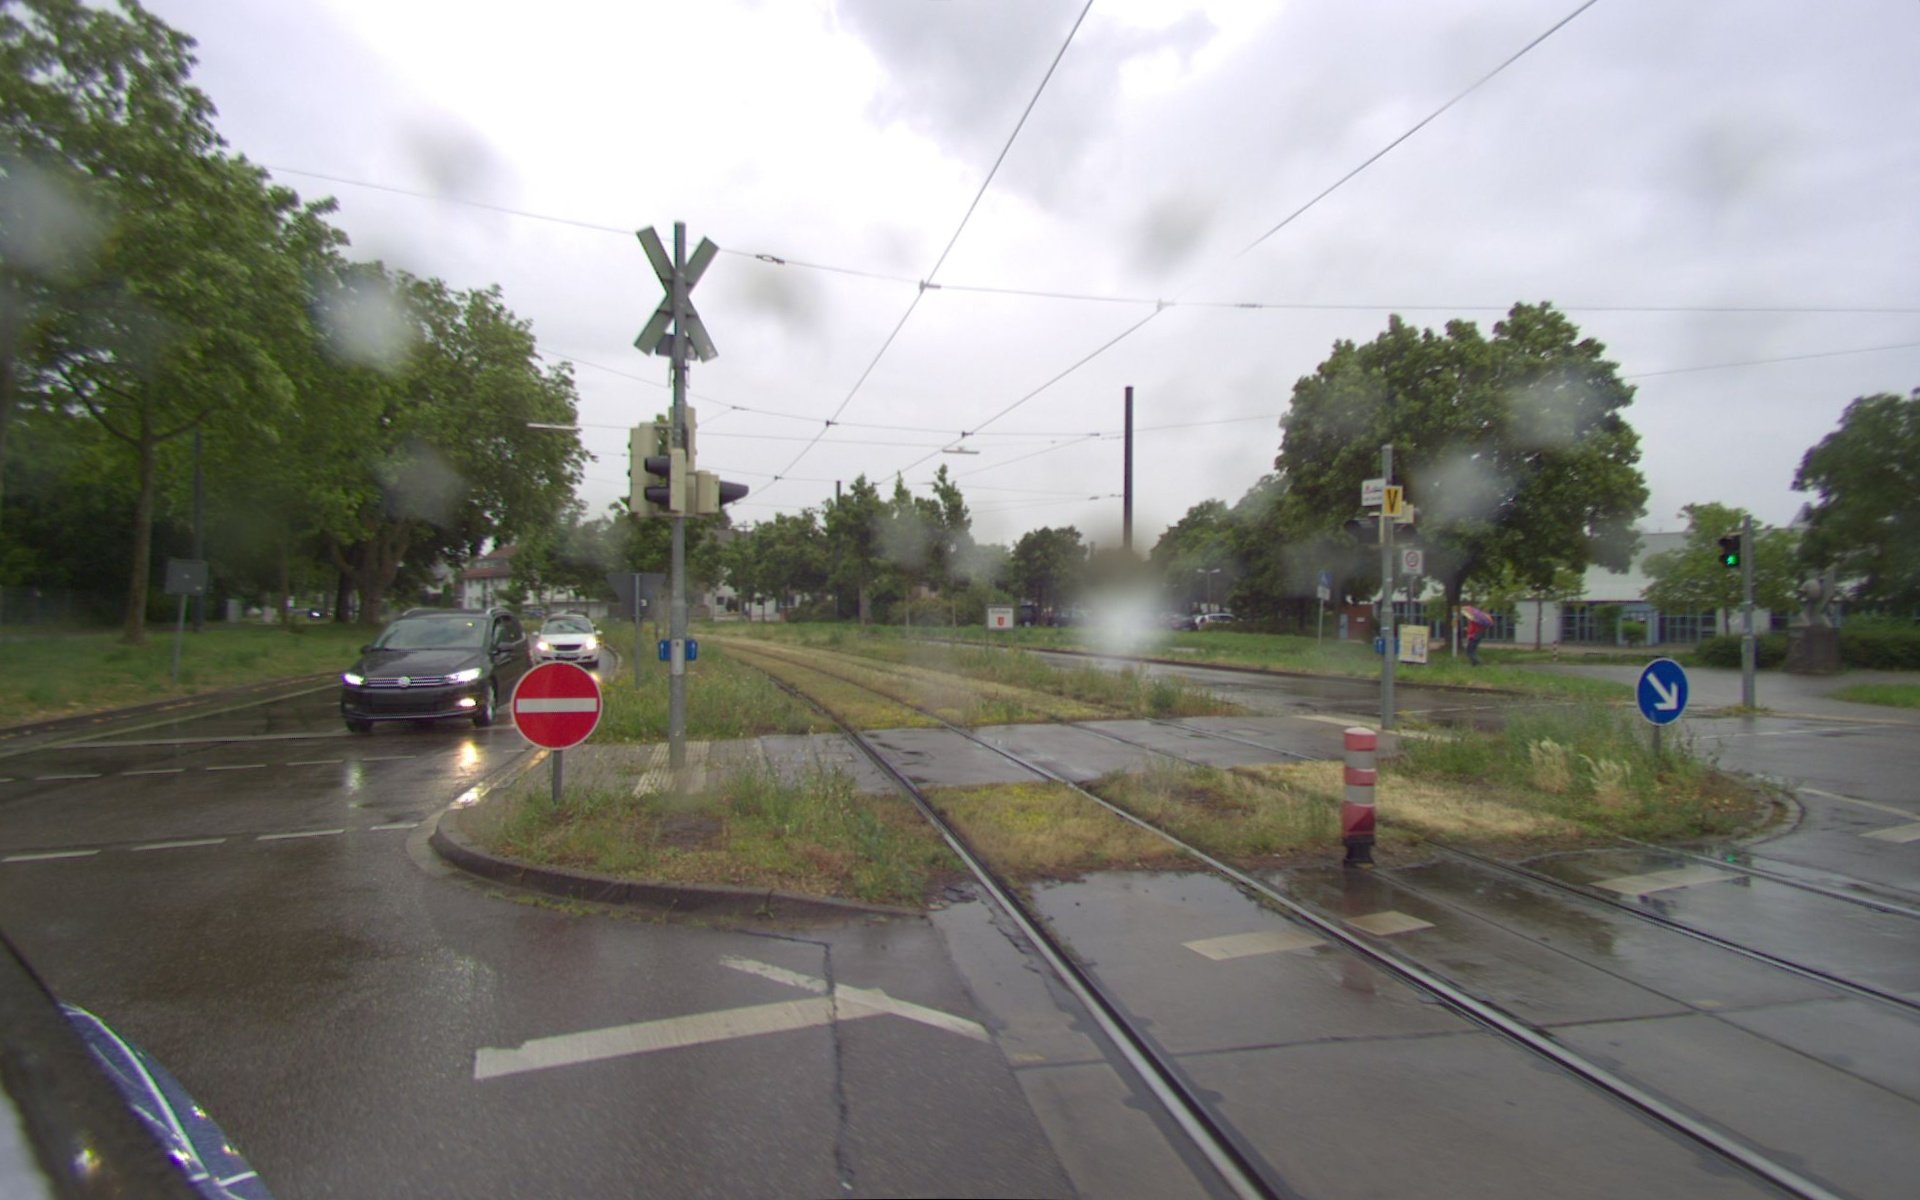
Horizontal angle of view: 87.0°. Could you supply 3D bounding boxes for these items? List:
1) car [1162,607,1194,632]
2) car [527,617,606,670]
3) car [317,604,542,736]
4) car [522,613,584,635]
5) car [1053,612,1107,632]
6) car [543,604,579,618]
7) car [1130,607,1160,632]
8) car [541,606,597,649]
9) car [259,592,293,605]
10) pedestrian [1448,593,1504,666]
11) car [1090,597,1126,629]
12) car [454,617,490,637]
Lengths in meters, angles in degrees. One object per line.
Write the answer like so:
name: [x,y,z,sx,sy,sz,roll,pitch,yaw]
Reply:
car: [14.601,1.282,67.835,2.041,1.584,4.996,-1,0,12]
car: [-11.397,1.207,29.518,1.759,1.373,4.009,-1,0,-16]
car: [-7.589,0.891,14.987,1.836,1.613,4.536,-1,0,-13]
car: [-28.728,1.677,71.431,3.975,1.431,1.681,-1,0,-26]
car: [9.536,1.737,80.356,4.138,1.494,1.777,-1,0,11]
car: [-53.165,1.426,134.870,1.891,1.815,3.947,-2,-1,39]
car: [12.487,1.290,68.347,1.736,1.542,4.837,-1,0,8]
car: [-14.092,0.945,36.393,1.758,1.414,3.807,-1,0,-23]
car: [-98.182,-0.248,145.304,3.937,1.840,2.003,-1,0,-40]
pedestrian: [14.669,0.824,28.773,0.937,2.005,1.011,-1,0,-20]
car: [9.903,0.830,67.959,2.286,2.029,5.105,-1,0,8]
car: [-35.984,1.984,74.531,1.760,1.391,3.874,-1,0,-36]
